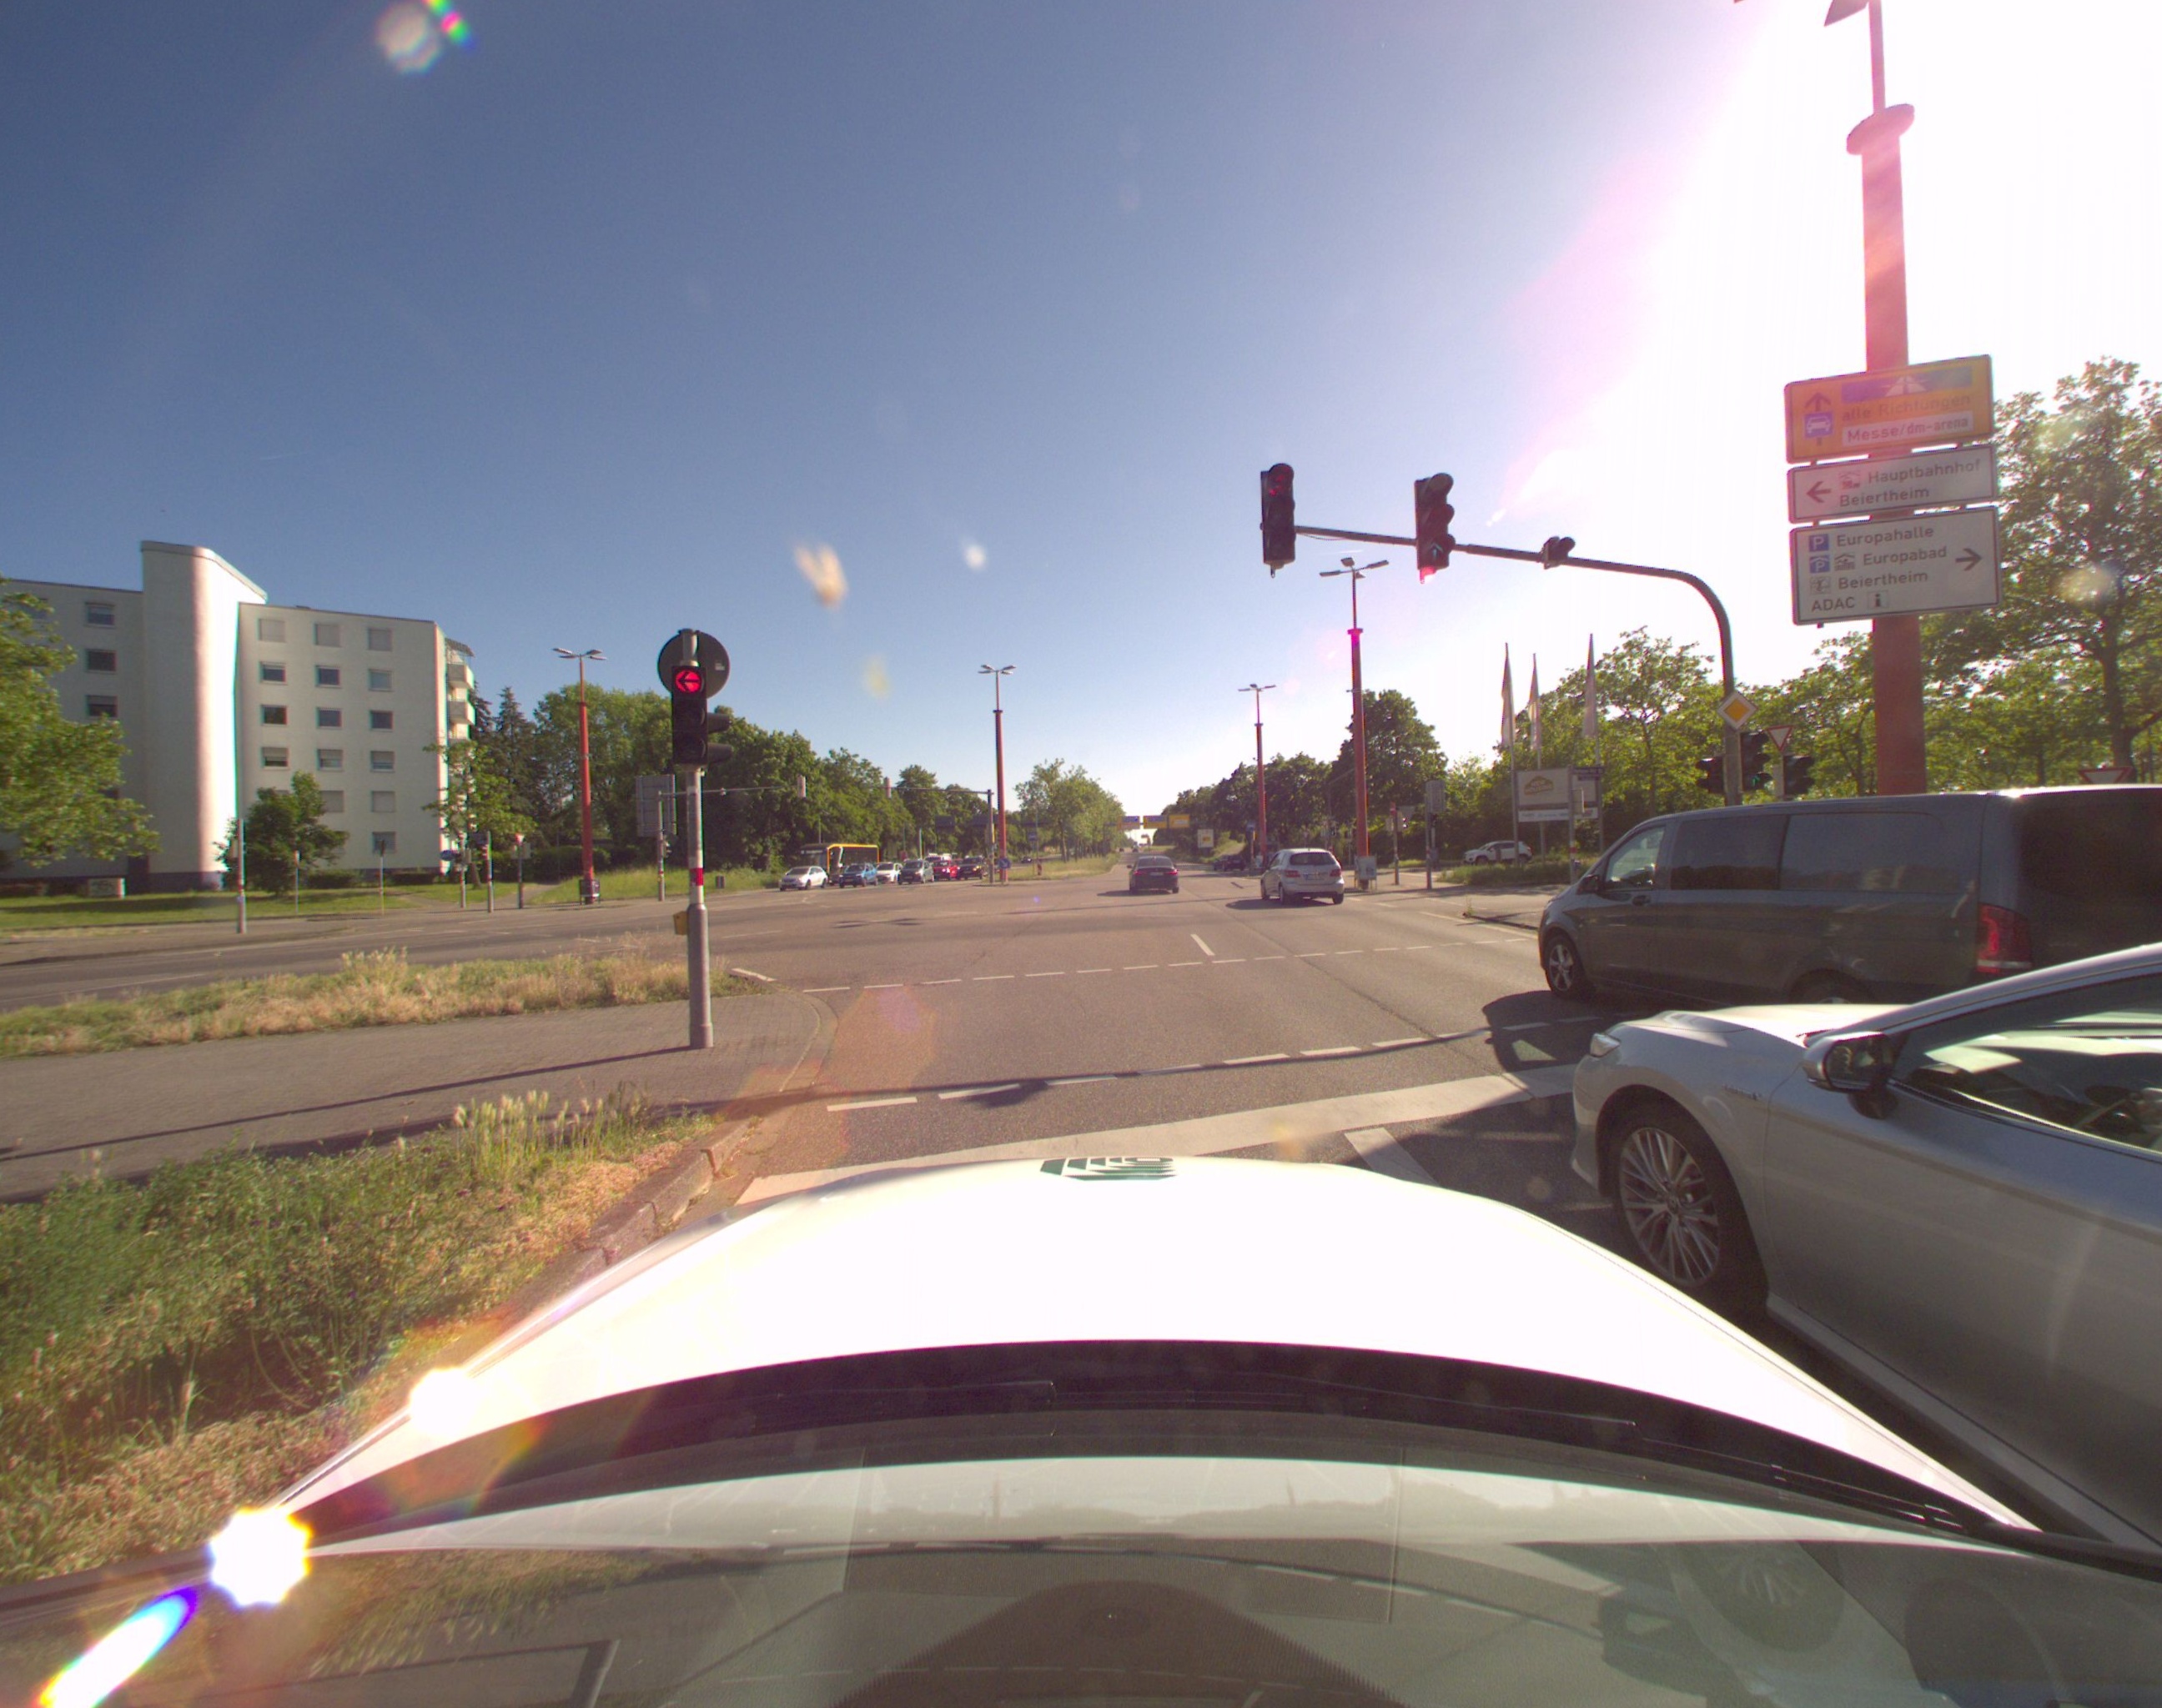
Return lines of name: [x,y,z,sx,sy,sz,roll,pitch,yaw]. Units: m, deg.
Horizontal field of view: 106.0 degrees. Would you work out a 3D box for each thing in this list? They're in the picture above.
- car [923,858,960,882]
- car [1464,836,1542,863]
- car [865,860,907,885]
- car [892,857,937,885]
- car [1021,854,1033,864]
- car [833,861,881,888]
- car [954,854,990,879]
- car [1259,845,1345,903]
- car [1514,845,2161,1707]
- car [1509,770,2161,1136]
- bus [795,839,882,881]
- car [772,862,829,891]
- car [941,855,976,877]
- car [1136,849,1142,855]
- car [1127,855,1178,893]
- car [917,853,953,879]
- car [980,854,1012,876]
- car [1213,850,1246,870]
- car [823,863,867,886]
car: [-10.072,1.114,59.032,1.869,1.552,4.000,-5,0,0]
car: [28.023,-0.264,54.161,4.260,1.635,1.773,-2,0,7]
car: [-13.779,1.277,57.770,1.895,1.555,4.000,-3,0,0]
car: [-10.701,1.069,52.704,1.867,1.550,4.029,-3,0,2]
car: [-10.807,0.956,162.386,1.913,1.999,4.605,-2,0,1]
car: [-14.142,1.276,51.624,1.794,1.515,3.861,-3,0,2]
car: [-7.533,0.848,56.711,1.787,1.626,4.144,-3,0,1]
car: [6.598,0.585,24.694,1.709,1.608,3.849,0,-1,2]
car: [2.765,0.727,1.352,1.797,1.493,4.686,0,0,3]
car: [5.720,0.490,6.727,1.797,1.852,5.106,-2,0,2]
bus: [-20.275,0.494,69.186,2.633,3.261,12.553,0,0,5]
car: [-17.649,1.413,51.424,1.869,1.652,4.222,-3,-1,3]
car: [-9.752,0.923,65.029,1.893,1.630,4.003,-1,0,3]
car: [18.637,-0.601,261.819,1.986,1.733,4.001,0,-1,2]
car: [2.811,0.770,32.791,1.758,1.441,4.295,0,0,1]
car: [-12.729,0.988,71.309,1.954,2.155,5.083,-2,0,1]
car: [-6.683,0.852,64.175,1.878,1.543,4.002,-3,0,2]
car: [12.737,0.523,69.974,1.761,1.635,4.291,0,-1,-5]
car: [-17.563,1.491,60.687,1.877,1.513,4.003,-3,0,3]
